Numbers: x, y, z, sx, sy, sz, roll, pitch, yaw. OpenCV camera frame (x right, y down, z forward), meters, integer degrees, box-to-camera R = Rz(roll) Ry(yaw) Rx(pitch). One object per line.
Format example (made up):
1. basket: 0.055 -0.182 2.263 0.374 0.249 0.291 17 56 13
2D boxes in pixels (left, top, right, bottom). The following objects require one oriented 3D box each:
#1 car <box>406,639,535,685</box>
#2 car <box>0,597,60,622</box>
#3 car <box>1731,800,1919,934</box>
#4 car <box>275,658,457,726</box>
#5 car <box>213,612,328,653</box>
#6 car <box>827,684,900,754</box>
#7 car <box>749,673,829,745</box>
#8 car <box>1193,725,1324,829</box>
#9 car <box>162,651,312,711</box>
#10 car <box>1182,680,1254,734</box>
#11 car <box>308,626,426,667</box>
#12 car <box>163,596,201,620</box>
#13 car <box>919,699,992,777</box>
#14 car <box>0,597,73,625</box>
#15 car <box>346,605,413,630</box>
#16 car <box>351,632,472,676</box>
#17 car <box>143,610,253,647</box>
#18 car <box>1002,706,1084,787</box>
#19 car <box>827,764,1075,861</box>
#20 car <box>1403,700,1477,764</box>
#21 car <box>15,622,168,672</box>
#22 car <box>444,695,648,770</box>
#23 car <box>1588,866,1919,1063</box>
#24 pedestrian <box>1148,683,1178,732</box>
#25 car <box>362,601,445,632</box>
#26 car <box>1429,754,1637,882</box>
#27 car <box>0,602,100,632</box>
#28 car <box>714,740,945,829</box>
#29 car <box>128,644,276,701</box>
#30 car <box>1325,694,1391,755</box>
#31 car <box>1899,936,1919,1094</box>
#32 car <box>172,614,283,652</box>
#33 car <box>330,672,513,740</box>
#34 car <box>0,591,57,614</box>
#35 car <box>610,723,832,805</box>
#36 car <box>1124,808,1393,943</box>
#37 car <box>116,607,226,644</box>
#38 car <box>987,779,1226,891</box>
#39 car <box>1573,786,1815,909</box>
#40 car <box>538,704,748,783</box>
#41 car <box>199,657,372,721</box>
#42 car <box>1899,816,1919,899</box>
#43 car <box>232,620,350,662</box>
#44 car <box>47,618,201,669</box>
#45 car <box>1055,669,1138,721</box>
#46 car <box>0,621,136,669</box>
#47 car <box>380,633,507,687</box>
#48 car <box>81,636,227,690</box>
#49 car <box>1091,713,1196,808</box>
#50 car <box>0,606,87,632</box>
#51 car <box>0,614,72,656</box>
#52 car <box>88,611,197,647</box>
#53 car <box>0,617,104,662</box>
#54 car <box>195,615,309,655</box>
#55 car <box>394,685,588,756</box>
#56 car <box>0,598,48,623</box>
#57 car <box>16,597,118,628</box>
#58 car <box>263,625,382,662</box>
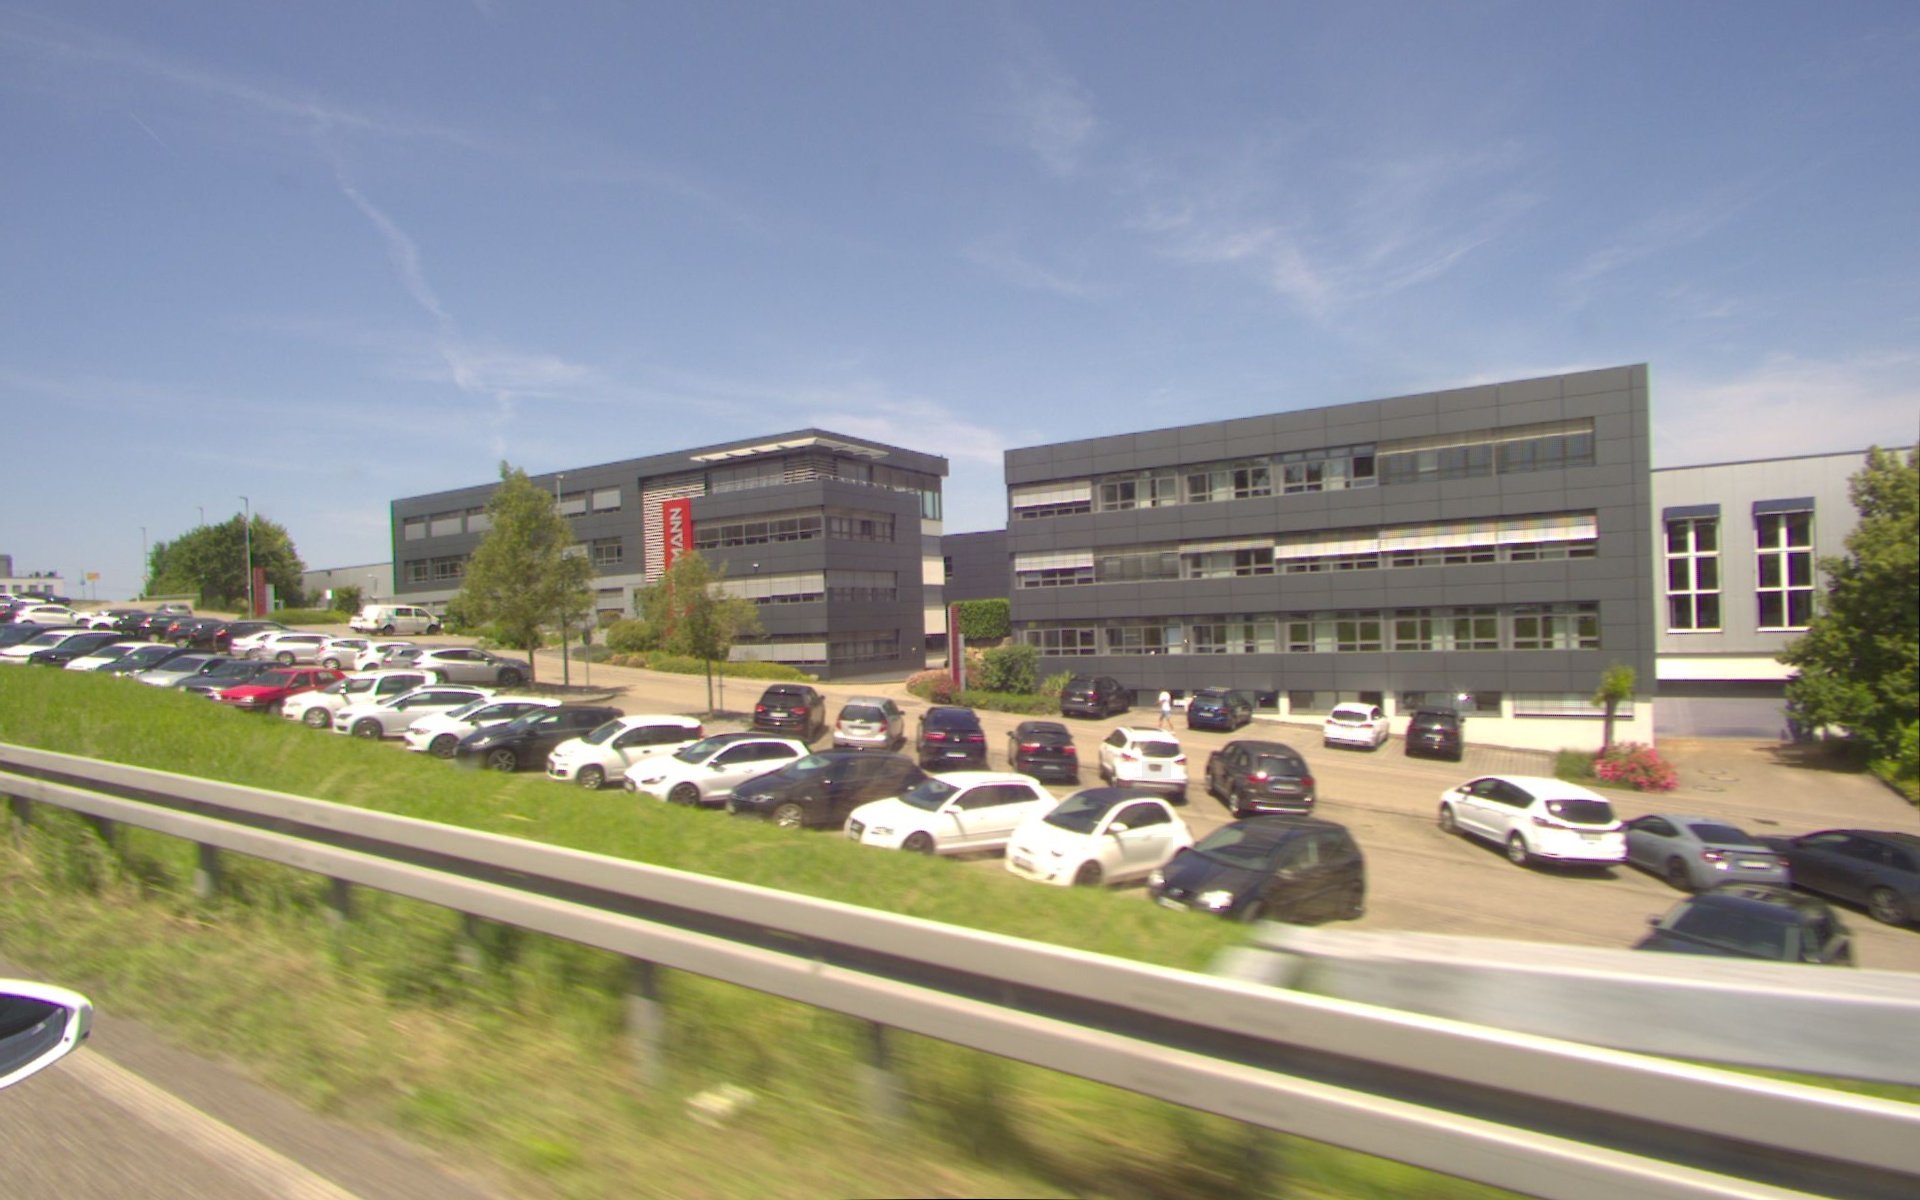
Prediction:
1. car: -19.740 2.468 40.423 4.525 1.651 1.808 1 2 -33
2. car: -65.246 0.663 69.097 4.533 1.649 1.807 2 -3 -37
3. car: 17.195 5.008 18.803 1.756 1.530 4.410 4 0 -4
4. car: -17.693 2.758 29.900 4.410 1.706 1.874 7 -4 -36
5. car: -34.425 1.657 50.175 4.528 1.648 1.810 7 -4 -31
6. car: -2.970 3.661 31.555 1.785 1.560 4.586 4 0 0
7. car: -5.462 3.458 32.514 1.785 1.651 4.239 4 2 0
8. car: 7.273 4.285 24.899 1.756 1.682 4.586 4 0 0
9. car: -23.721 2.638 33.085 1.852 1.706 4.380 4 -4 -4
10. car: 10.301 4.182 39.737 1.791 1.593 4.569 3 1 27
11. car: -26.900 2.084 45.504 4.523 1.499 1.808 -1 4 -33
12. car: -57.654 0.622 74.192 1.796 1.682 3.961 3 -3 -44
13. car: -0.224 3.917 29.142 1.786 1.533 4.585 4 0 -3
14. car: -62.697 0.736 67.213 4.535 1.649 1.806 5 -2 -37
15. car: -40.061 1.173 69.210 1.660 1.609 3.654 2 1 33
16. car: -24.120 2.396 44.085 4.526 1.651 1.807 3 4 -33
17. car: -41.797 1.571 55.063 4.528 1.648 1.810 7 -4 -31
18. car: 2.260 4.055 28.321 1.785 1.533 4.586 4 0 0
19. car: -0.125 3.970 18.995 4.321 1.411 1.809 7 -4 -31
20. car: 17.069 4.614 35.506 1.794 1.593 4.562 3 1 32
21. car: -33.936 1.884 39.313 1.851 1.706 4.382 4 -4 4
22. car: -10.251 3.313 24.910 4.325 1.578 1.876 7 -4 -34
23. car: 10.254 4.467 12.835 4.667 1.505 1.903 7 -4 -32
24. pedestrian: 7.567 4.005 37.293 0.816 1.744 0.632 2 -4 33
25. car: -37.132 1.097 66.931 1.794 1.976 4.562 2 1 32
26. car: 12.223 4.600 21.787 1.756 1.682 4.586 4 0 0
27. car: -57.758 1.076 63.624 4.534 1.649 1.807 4 -3 -37
28. car: -2.661 3.794 20.721 4.321 1.473 1.809 7 -4 -31
29. car: -25.895 2.463 34.440 1.852 1.706 4.380 4 -4 -4
30. car: 14.723 4.517 36.905 1.791 1.593 4.569 3 1 27
31. car: 12.731 4.726 11.342 4.667 1.583 1.949 7 -4 -32
32. car: -38.971 1.786 53.416 4.528 1.648 1.810 7 -4 -31
33. car: -15.138 3.013 28.350 4.317 1.578 1.879 6 -4 -29
34. car: -76.851 0.197 81.561 4.514 1.649 1.815 2 -2 -24
35. car: -5.197 3.589 22.030 4.325 1.473 1.807 7 -4 -34
36. car: 4.787 4.217 15.822 4.326 1.508 1.700 7 -4 -34
37. car: -44.354 1.462 56.426 4.528 1.648 1.810 7 -4 -31
38. car: 2.655 4.059 17.732 4.078 1.536 1.668 7 -4 -34
39. car: 14.743 4.926 20.447 1.756 1.396 4.159 4 0 0
40. car: -7.486 3.429 23.785 4.325 1.578 1.850 7 -4 -34
41. car: -20.972 2.770 31.389 1.852 1.706 4.381 4 -4 11
42. car: 19.742 5.154 17.885 1.755 1.556 4.411 4 0 1
43. car: -32.405 2.003 48.669 4.528 1.648 1.810 7 -4 -31
44. car: -31.637 1.709 38.106 1.851 1.706 4.382 4 -4 4
45. car: 5.777 3.910 41.827 1.793 1.670 4.565 3 1 30
46. car: -36.821 1.898 41.217 1.851 1.706 4.382 4 -4 4
47. car: -21.870 2.557 42.443 4.530 1.650 1.807 7 4 -33
48. car: -29.117 2.276 36.390 1.852 1.706 4.380 4 -4 -4
49. car: 4.747 4.152 26.558 1.785 1.682 4.586 4 0 0
50. car: -60.181 1.245 65.453 4.532 1.650 1.807 2 -1 -37
51. car: -41.978 1.489 43.909 1.851 1.706 4.382 4 -4 4
52. car: -47.182 1.705 57.928 4.528 1.648 1.810 7 -4 -31
53. car: -39.177 1.668 42.354 1.851 1.706 4.382 4 -4 4
54. car: -36.367 1.813 51.588 4.528 1.648 1.810 7 -4 -31
55. car: -12.359 3.193 26.492 4.325 1.578 1.876 7 -4 -34
56. car: -67.722 0.702 70.801 4.533 1.649 1.807 3 -3 -37
57. car: -55.434 0.794 62.298 4.534 1.649 1.807 4 -2 -37
58. car: -29.774 2.053 46.904 4.518 1.541 1.811 2 3 -28
